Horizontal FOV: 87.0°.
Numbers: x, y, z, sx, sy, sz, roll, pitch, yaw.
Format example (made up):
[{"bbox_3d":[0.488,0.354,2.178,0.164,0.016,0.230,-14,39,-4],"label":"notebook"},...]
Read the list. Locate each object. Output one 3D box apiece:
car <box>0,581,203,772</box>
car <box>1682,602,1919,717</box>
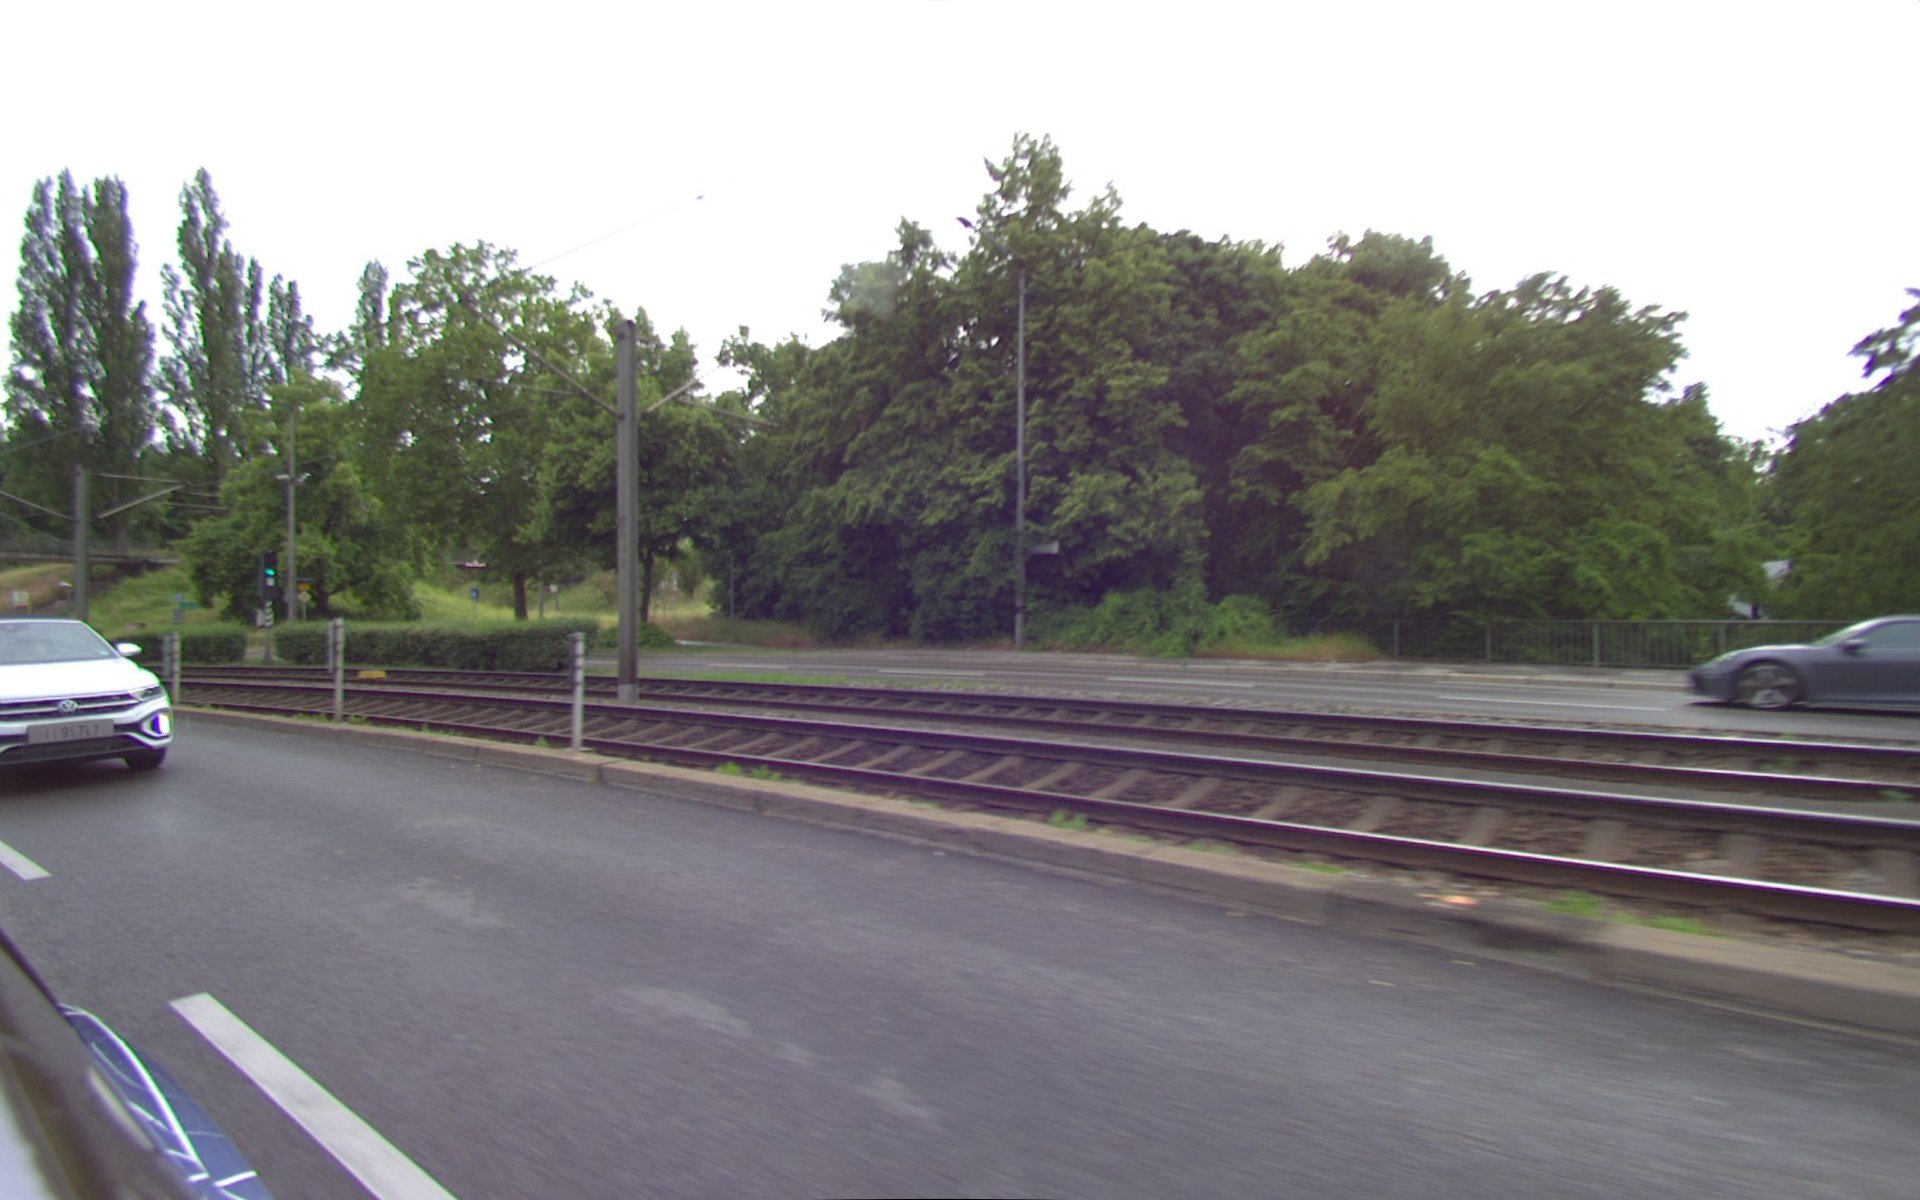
[{"bbox_3d":[-9.385,0.694,9.835,4.527,1.536,1.856,-2,-2,34],"label":"car"},{"bbox_3d":[12.275,0.742,13.036,1.816,1.324,4.622,-2,2,-45],"label":"car"}]
